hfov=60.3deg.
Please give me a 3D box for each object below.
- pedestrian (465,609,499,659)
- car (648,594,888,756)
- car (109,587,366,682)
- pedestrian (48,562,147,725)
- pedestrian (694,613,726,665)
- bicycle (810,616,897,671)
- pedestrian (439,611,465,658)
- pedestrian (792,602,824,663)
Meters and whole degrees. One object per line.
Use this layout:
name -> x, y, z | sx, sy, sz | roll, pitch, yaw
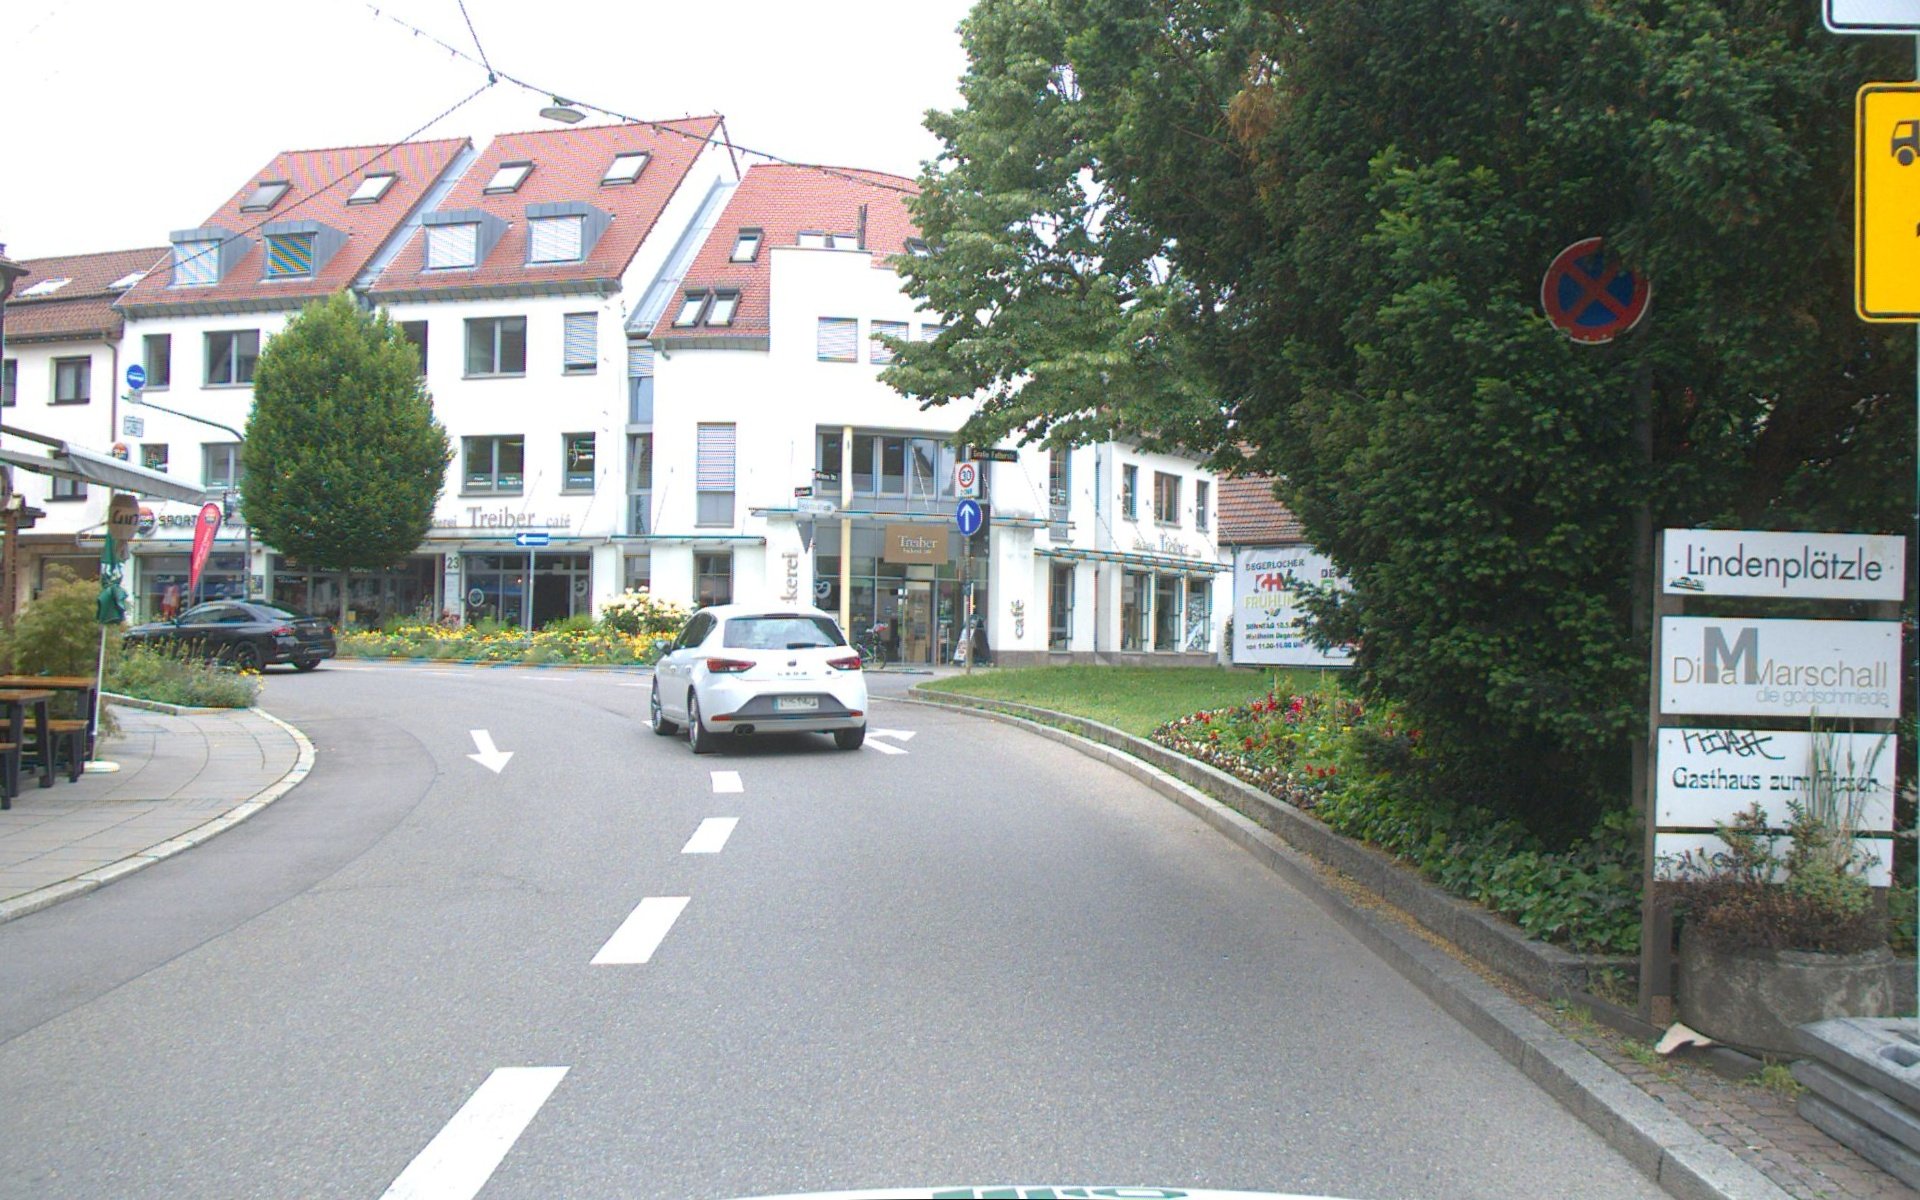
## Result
pedestrian -> -13.148, 0.948, 45.504 | 0.554, 1.341, 0.765 | 0, -3, 17
car -> -2.161, 0.705, 17.598 | 1.814, 1.459, 3.981 | 1, 1, -17
car -> -14.250, 0.649, 32.715 | 4.266, 1.704, 2.043 | 1, 0, 14
pedestrian -> -11.250, 0.555, 21.556 | 1.091, 2.049, 1.004 | 1, -1, -30
pedestrian -> -6.607, 1.027, 43.757 | 0.686, 1.355, 0.685 | 0, -1, 4
bicycle -> -2.548, 1.029, 39.695 | 1.932, 1.261, 0.744 | 1, -1, 16
pedestrian -> -14.073, 0.953, 45.853 | 0.480, 1.293, 0.502 | 0, -1, 17
pedestrian -> -3.908, 0.822, 42.641 | 0.686, 1.552, 0.868 | 0, -1, 4
